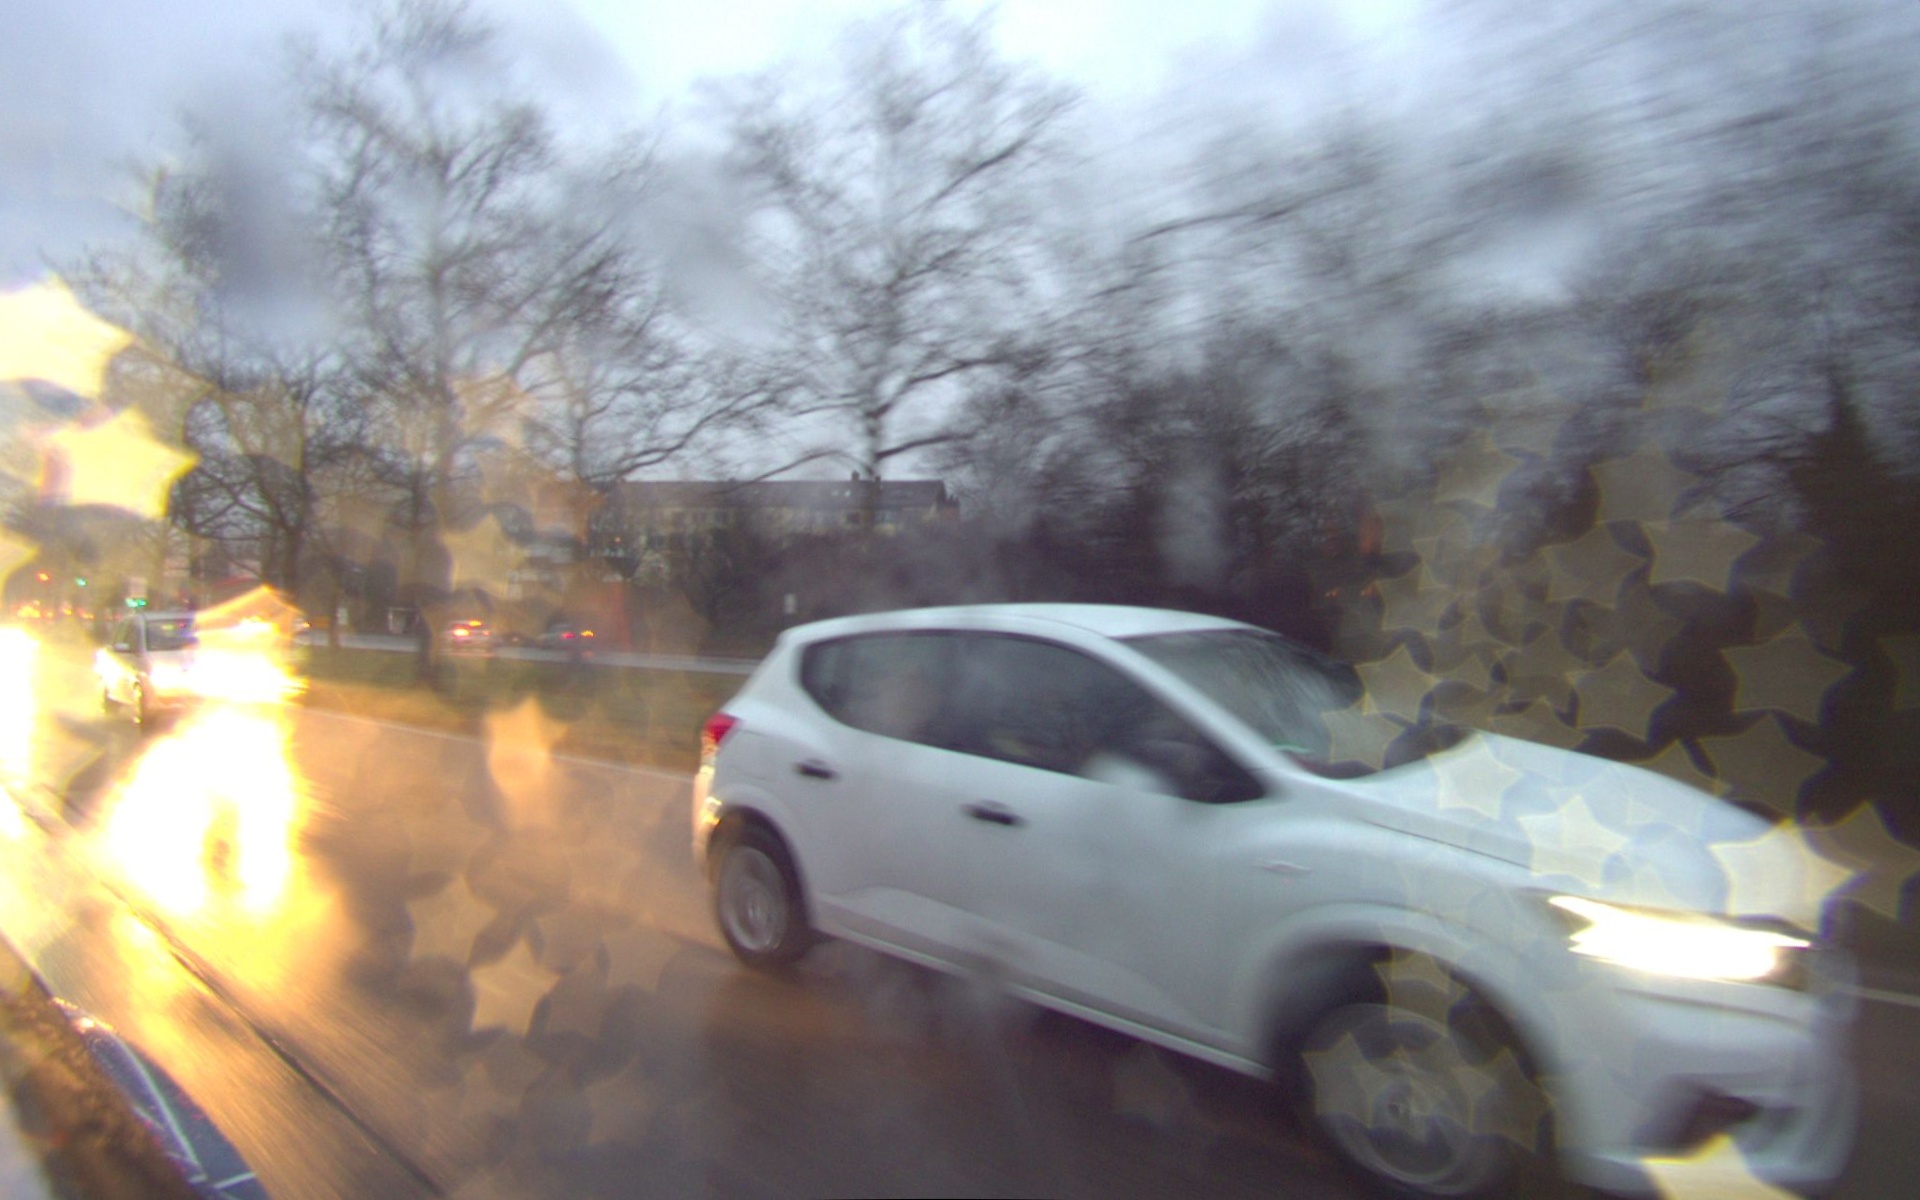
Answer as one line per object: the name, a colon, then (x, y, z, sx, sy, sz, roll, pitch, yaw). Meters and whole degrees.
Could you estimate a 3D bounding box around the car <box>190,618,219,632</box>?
car: (-81.102, 2.664, 108.608, 4.272, 1.500, 1.700, -1, -1, 43)

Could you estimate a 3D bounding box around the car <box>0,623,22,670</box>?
car: (-34.540, 1.605, 35.498, 4.145, 1.542, 2.000, 0, -1, 42)

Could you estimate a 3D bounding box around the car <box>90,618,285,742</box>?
car: (-11.832, 1.095, 15.400, 4.166, 1.611, 1.741, -1, -1, 44)

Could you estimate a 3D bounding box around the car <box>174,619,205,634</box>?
car: (-71.466, 2.467, 93.885, 3.956, 1.364, 1.631, -1, -1, 43)

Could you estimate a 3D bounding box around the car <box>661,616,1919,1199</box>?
car: (0.810, 0.826, 3.657, 4.225, 1.451, 1.705, -2, -3, 43)

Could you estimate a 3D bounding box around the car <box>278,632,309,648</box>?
car: (-62.403, 3.694, 94.700, 1.727, 1.405, 4.305, 1, -1, -42)

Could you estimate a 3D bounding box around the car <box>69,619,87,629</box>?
car: (-124.930, 3.403, 143.277, 4.000, 1.302, 1.520, -1, -1, 43)

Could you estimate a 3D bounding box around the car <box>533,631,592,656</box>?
car: (-22.418, 2.436, 56.980, 4.106, 1.312, 1.560, -1, -1, 45)

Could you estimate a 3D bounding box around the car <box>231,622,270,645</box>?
car: (-53.102, 2.498, 75.716, 3.981, 1.694, 1.599, -1, -2, 43)

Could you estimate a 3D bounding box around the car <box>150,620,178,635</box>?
car: (-80.164, 2.748, 101.883, 3.956, 1.511, 1.631, -1, -1, 43)

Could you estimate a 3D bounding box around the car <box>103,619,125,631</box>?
car: (-103.208, 3.022, 123.460, 3.956, 1.338, 1.520, -1, -1, 43)

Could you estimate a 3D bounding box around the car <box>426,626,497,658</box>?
car: (-23.886, 1.972, 48.423, 3.978, 1.436, 1.729, -1, -1, 43)

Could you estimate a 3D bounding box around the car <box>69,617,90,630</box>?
car: (-109.165, 2.943, 125.520, 4.000, 1.514, 1.553, 0, 0, 43)
